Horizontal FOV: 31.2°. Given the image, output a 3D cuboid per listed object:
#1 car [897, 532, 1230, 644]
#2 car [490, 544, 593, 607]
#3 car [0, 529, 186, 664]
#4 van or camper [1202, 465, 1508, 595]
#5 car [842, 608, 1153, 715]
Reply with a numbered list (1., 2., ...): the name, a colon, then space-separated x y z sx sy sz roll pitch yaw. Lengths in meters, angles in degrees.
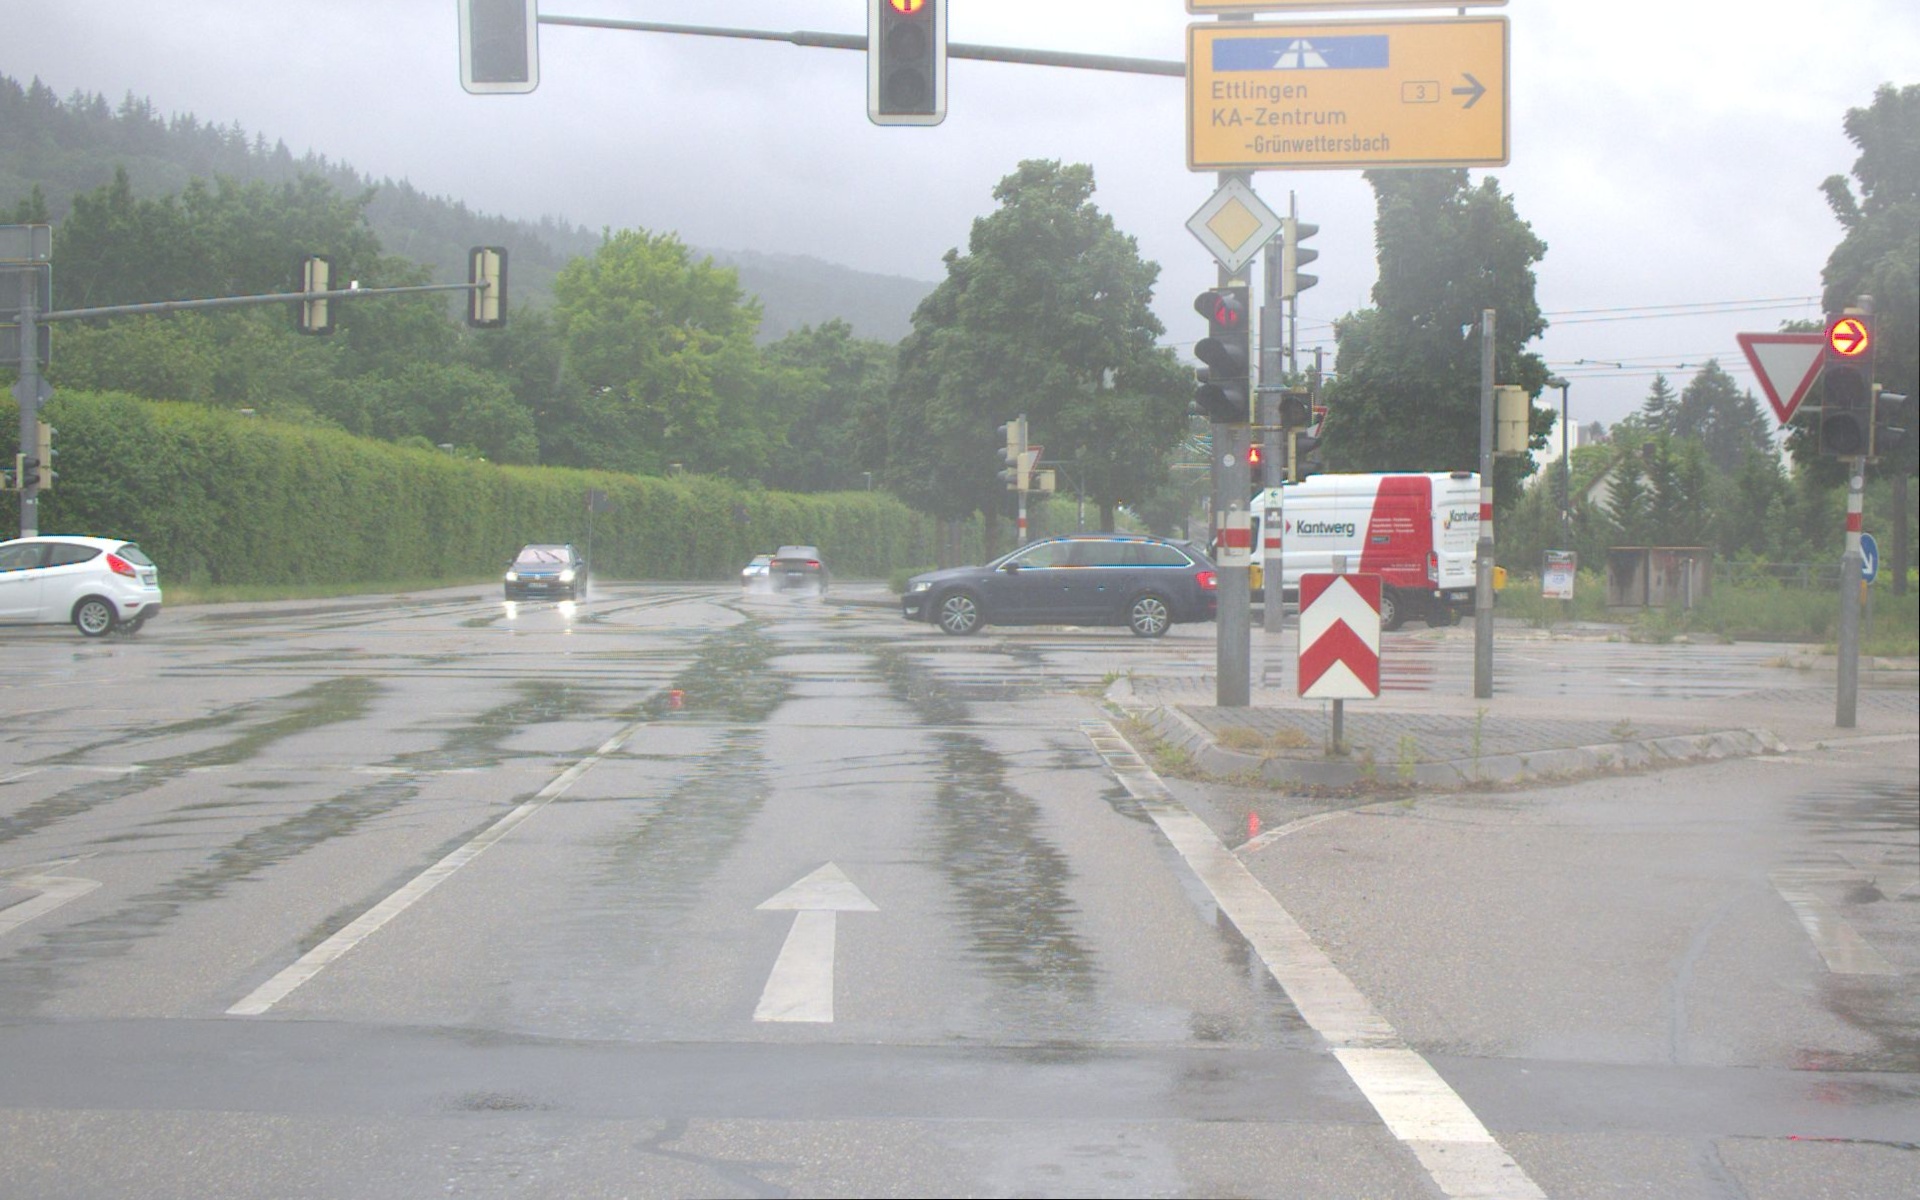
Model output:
1. car: 1.515 -0.187 49.109 4.670 1.548 1.822 0 1 4
2. car: -11.040 -0.666 91.007 1.879 1.568 4.644 -1 1 3
3. car: -13.808 -0.066 49.959 4.669 1.909 1.915 0 1 2
4. van or camper: 6.840 -1.240 59.789 4.860 2.161 2.155 2 2 39
5. car: 0.602 0.927 52.574 4.670 1.548 1.822 0 1 3
